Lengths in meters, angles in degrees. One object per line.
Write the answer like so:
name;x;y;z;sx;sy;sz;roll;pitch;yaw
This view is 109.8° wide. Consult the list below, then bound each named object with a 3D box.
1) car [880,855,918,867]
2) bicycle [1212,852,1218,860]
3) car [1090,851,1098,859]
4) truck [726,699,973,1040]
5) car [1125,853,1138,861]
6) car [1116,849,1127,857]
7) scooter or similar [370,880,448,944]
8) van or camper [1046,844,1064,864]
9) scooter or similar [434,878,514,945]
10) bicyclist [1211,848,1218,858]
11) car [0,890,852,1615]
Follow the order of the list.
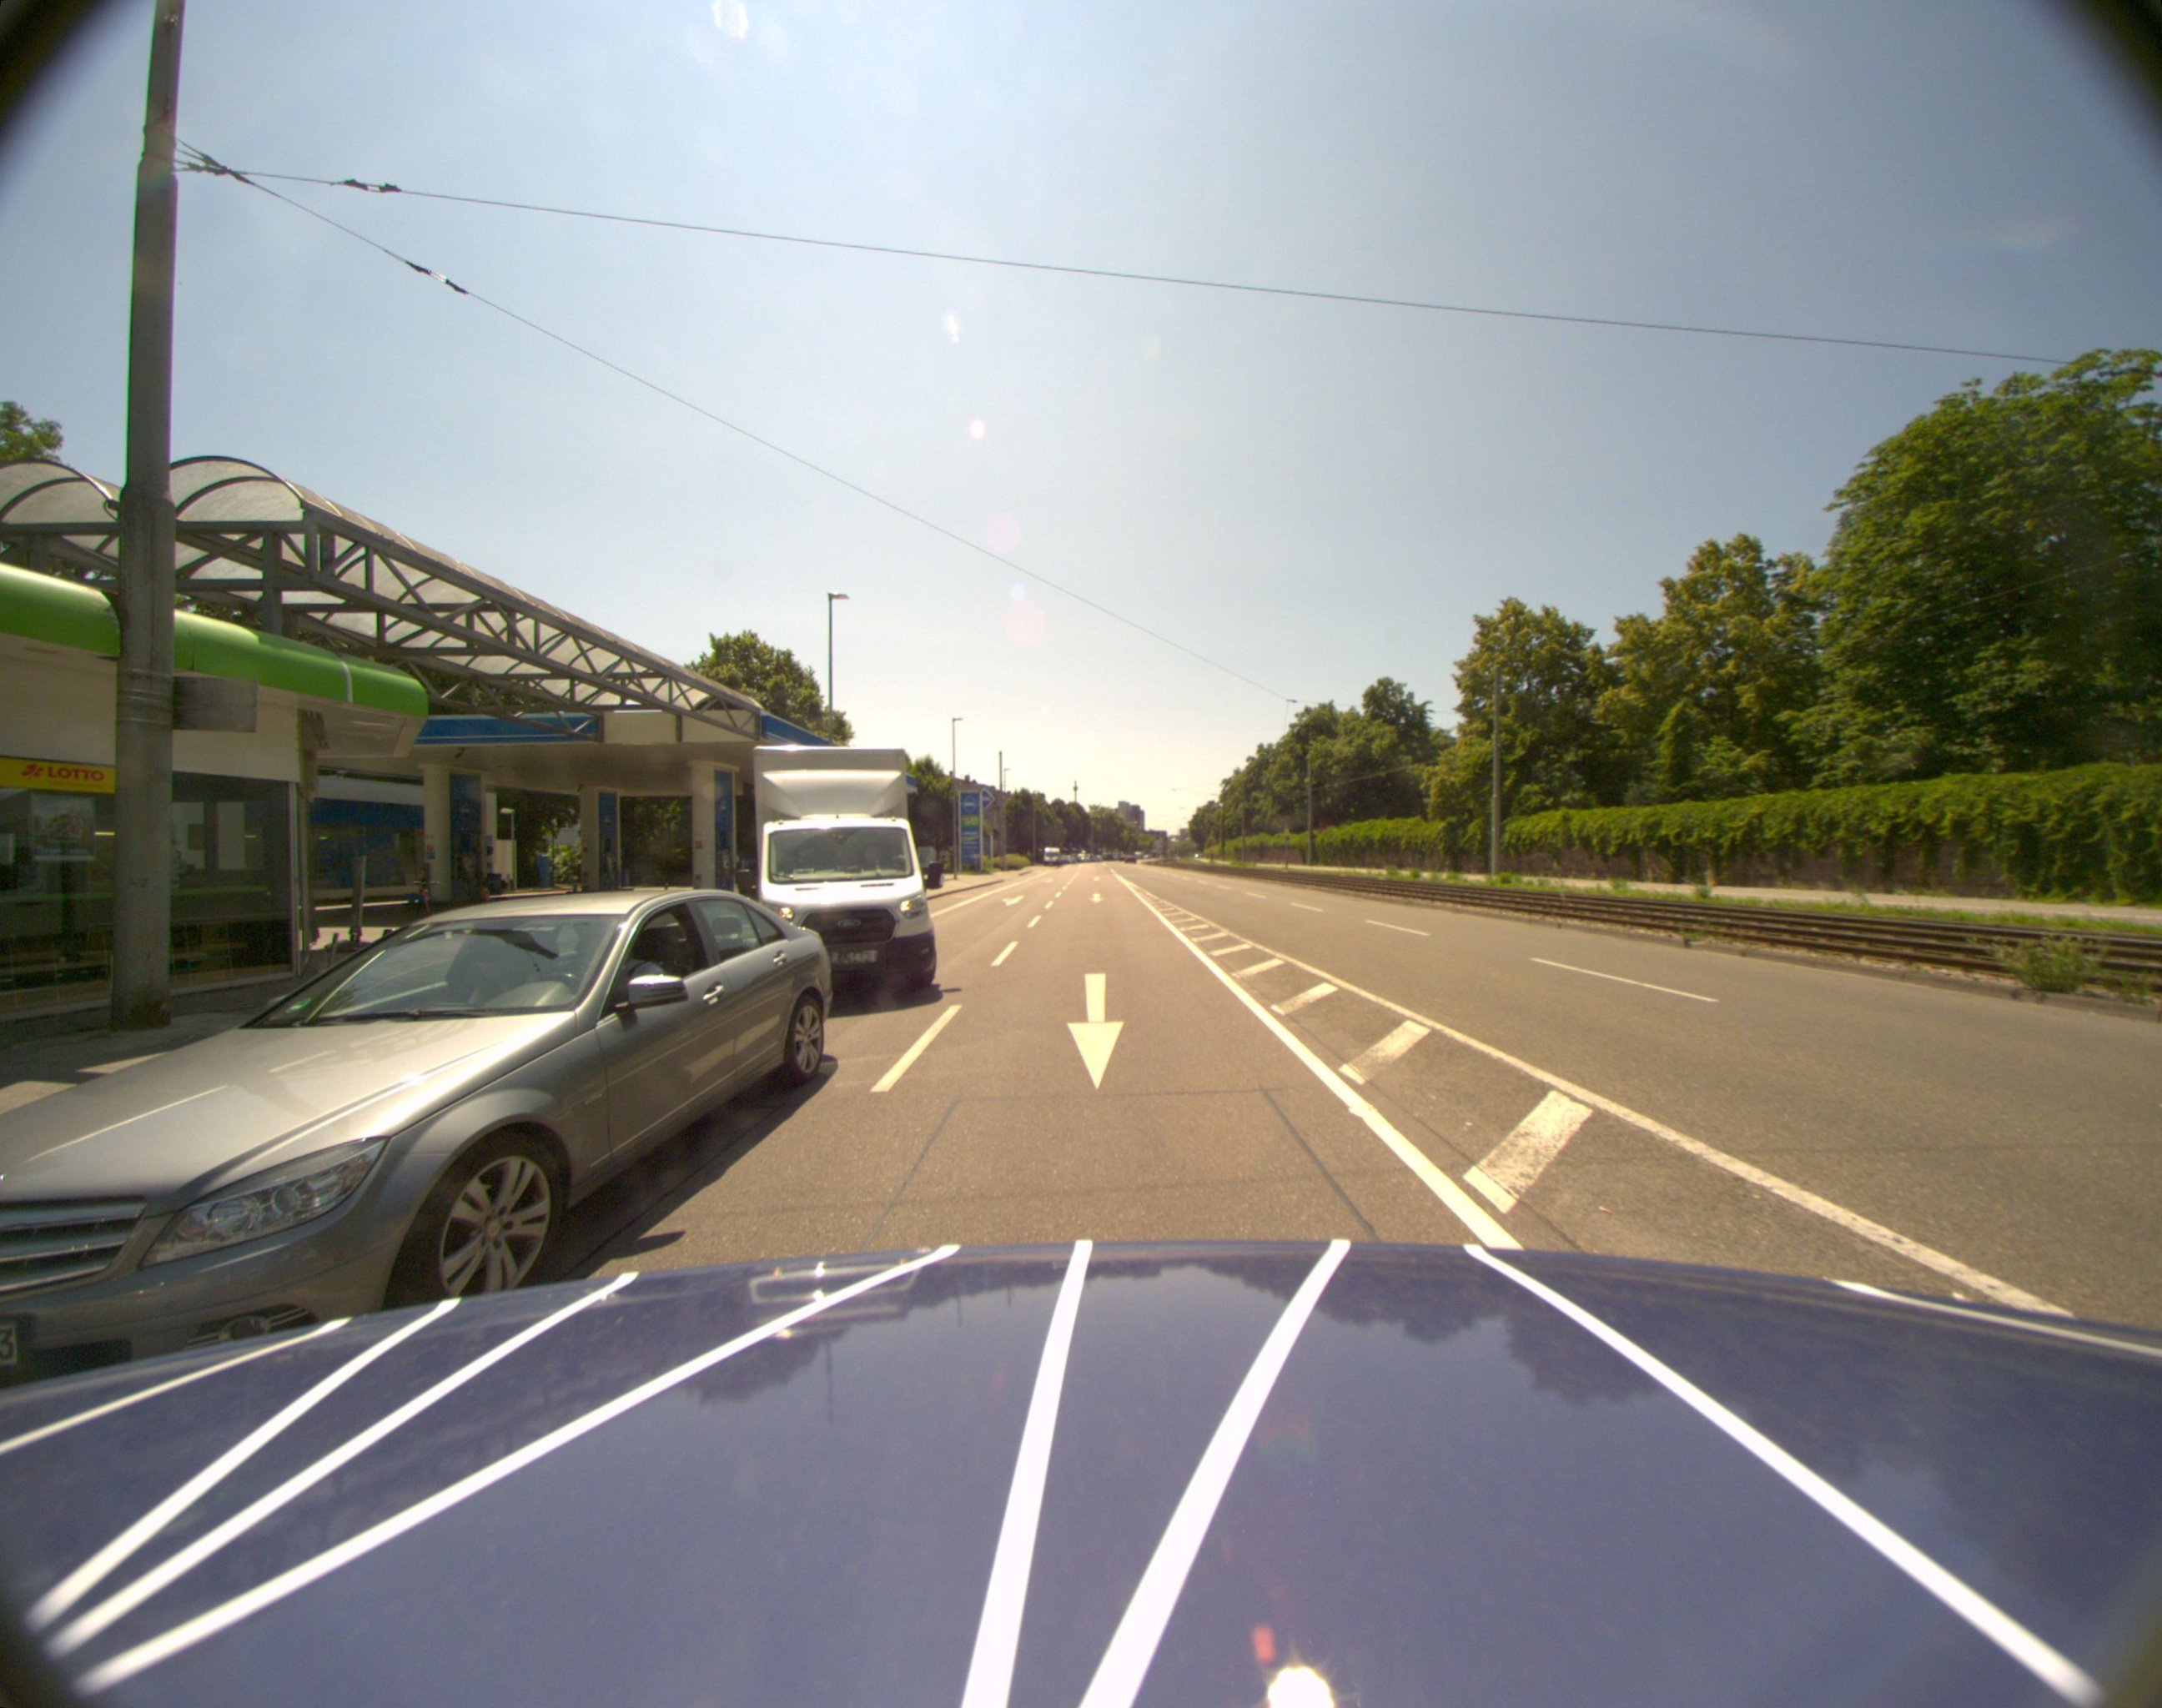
car;-23.026;0.890;96.419;4.221;1.512;2.001;-1;0;9
bicycle;20.161;0.270;114.498;0.830;1.149;2.687;-1;0;8
car;2.909;0.195;170.565;1.806;1.585;4.000;-1;0;2
truck;-3.842;0.144;11.585;2.430;3.372;7.818;-1;0;-22
car;8.159;0.488;123.774;1.989;1.350;4.538;-1;0;2
car;8.310;-0.160;156.348;1.998;1.608;4.000;-1;0;1
scooter or similar;-12.838;1.099;14.522;1.138;1.170;0.384;-1;1;2
van or camper;-3.495;-0.016;101.813;2.126;2.469;5.993;2;0;0
scooter or similar;-11.583;1.084;14.518;1.176;1.233;0.412;-1;1;2
bicyclist;20.166;-0.201;114.587;0.996;1.477;1.001;-1;1;8
car;-2.851;1.039;3.975;1.800;1.441;4.418;-1;0;2
